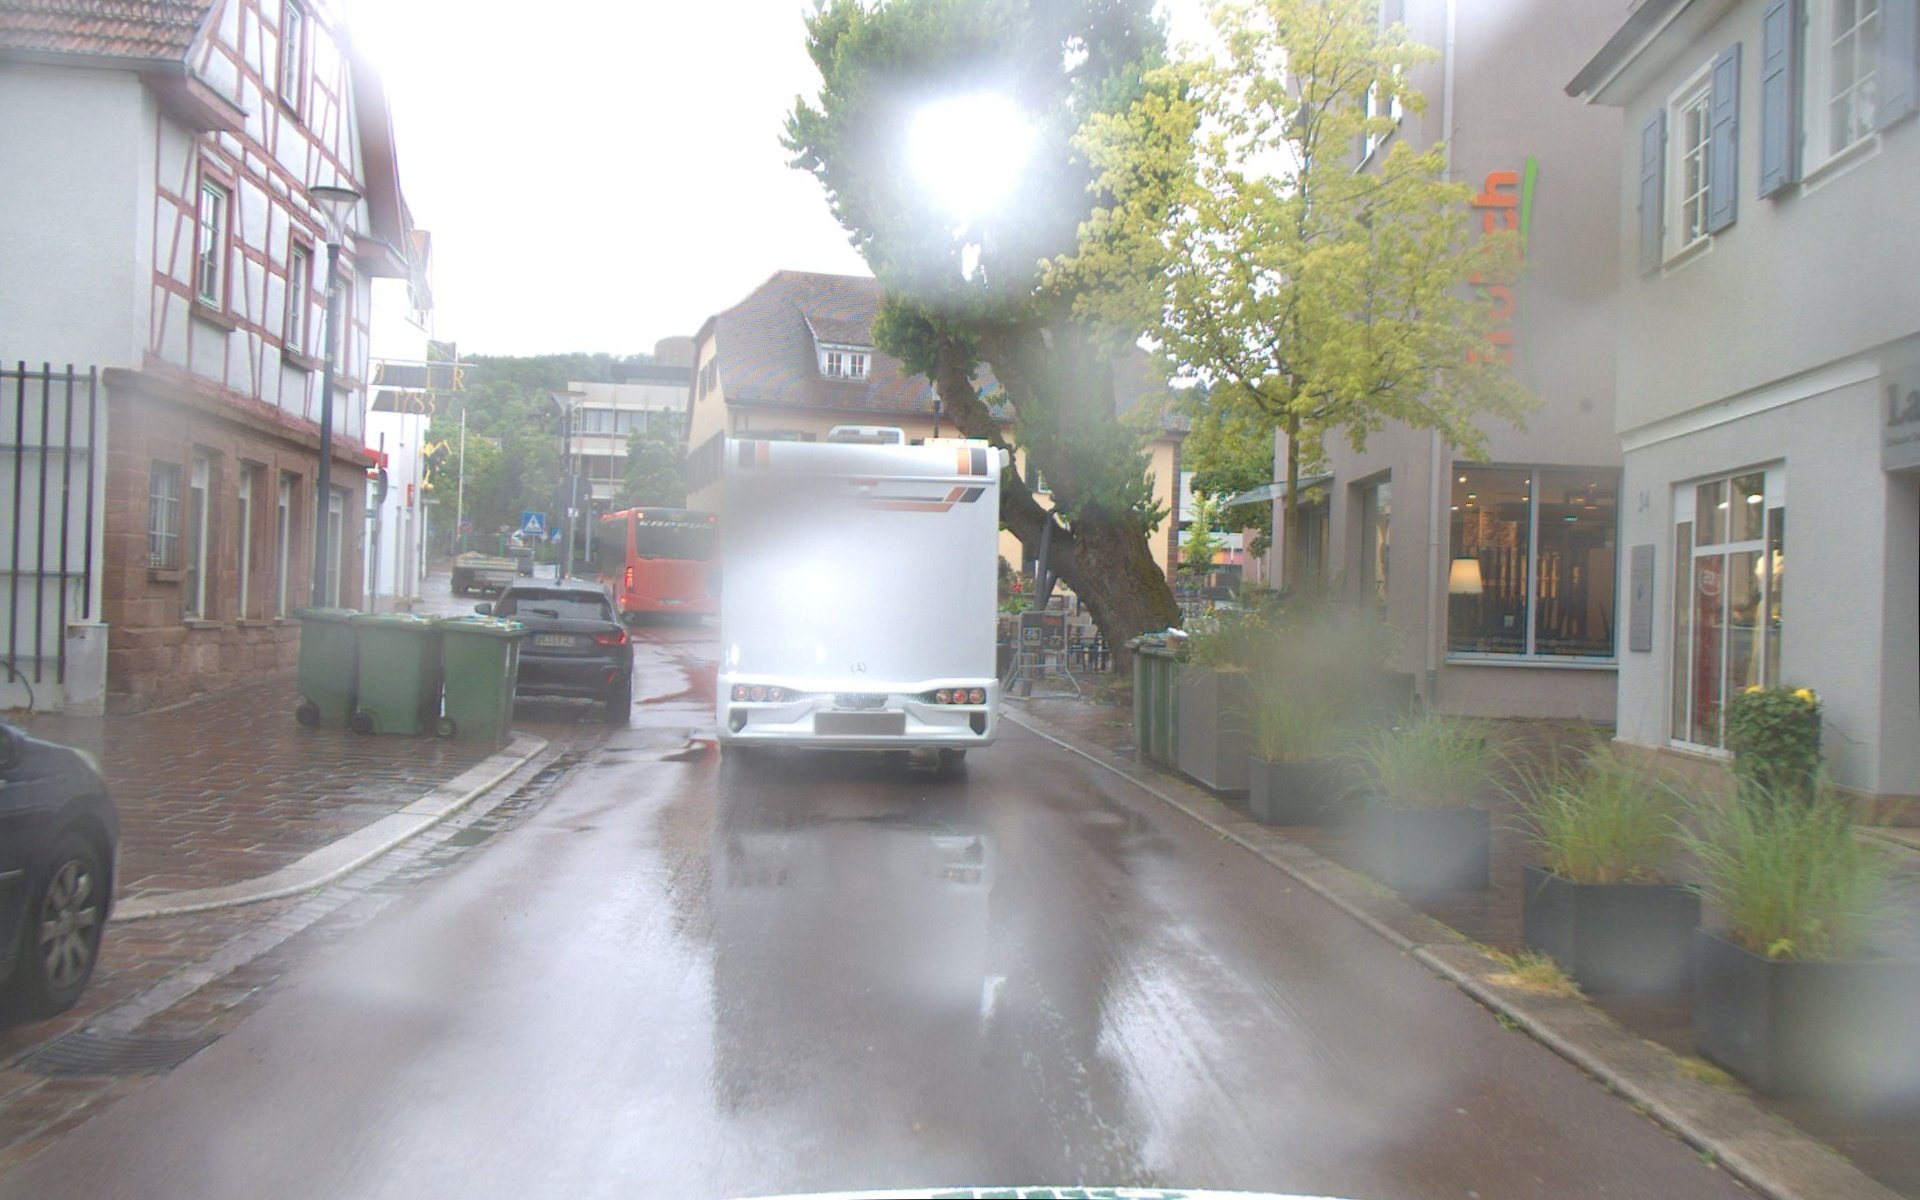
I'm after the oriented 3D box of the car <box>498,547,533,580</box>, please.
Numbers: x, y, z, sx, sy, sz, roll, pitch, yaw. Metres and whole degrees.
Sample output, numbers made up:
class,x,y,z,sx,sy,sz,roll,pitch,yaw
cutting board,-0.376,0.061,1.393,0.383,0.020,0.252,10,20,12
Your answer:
class,x,y,z,sx,sy,sz,roll,pitch,yaw
car,-29.384,-2.395,109.194,1.963,2.049,3.979,1,-1,-18

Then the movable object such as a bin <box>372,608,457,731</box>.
class,x,y,z,sx,sy,sz,roll,pitch,yaw
movable object such as a bin,-5.189,0.654,15.771,0.618,1.142,0.732,1,-1,-9

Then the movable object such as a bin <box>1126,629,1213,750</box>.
class,x,y,z,sx,sy,sz,roll,pitch,yaw
movable object such as a bin,1.971,0.835,15.613,0.714,1.099,0.576,1,-1,-4

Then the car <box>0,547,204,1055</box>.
class,x,y,z,sx,sy,sz,roll,pitch,yaw
car,-3.732,0.561,4.302,1.955,1.497,3.995,2,0,-6

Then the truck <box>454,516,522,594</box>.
class,x,y,z,sx,sy,sz,roll,pitch,yaw
truck,-18.739,-1.717,65.486,2.246,2.806,5.538,1,-1,-19

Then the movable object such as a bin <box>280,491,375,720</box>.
class,x,y,z,sx,sy,sz,roll,pitch,yaw
movable object such as a bin,-5.822,0.059,15.251,0.618,2.049,0.745,1,-1,-9

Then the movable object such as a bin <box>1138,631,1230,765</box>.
class,x,y,z,sx,sy,sz,roll,pitch,yaw
movable object such as a bin,1.941,0.840,14.379,0.679,1.121,0.561,1,-1,-4

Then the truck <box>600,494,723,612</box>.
class,x,y,z,sx,sy,sz,roll,pitch,yaw
truck,-8.398,-1.182,46.021,2.424,2.991,6.163,1,-1,-19

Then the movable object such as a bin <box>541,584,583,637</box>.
class,x,y,z,sx,sy,sz,roll,pitch,yaw
movable object such as a bin,-8.317,0.218,34.518,0.805,1.069,0.697,1,-1,-16

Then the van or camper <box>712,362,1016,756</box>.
class,x,y,z,sx,sy,sz,roll,pitch,yaw
van or camper,-1.103,-0.259,15.862,2.282,2.970,6.383,1,-1,-7

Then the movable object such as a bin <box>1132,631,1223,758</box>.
class,x,y,z,sx,sy,sz,roll,pitch,yaw
movable object such as a bin,1.975,0.851,15.048,0.714,1.121,0.561,1,-1,-4

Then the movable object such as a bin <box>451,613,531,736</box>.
class,x,y,z,sx,sy,sz,roll,pitch,yaw
movable object such as a bin,-4.466,0.702,15.791,0.618,1.142,0.732,1,-1,-9

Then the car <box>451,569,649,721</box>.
class,x,y,z,sx,sy,sz,roll,pitch,yaw
car,-4.769,0.453,19.332,1.960,1.520,3.986,3,0,-14

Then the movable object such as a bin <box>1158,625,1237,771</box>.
class,x,y,z,sx,sy,sz,roll,pitch,yaw
movable object such as a bin,1.972,0.804,13.793,0.533,1.176,0.576,1,-1,-4

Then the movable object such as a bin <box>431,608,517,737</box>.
class,x,y,z,sx,sy,sz,roll,pitch,yaw
movable object such as a bin,-4.404,0.648,15.021,0.618,1.133,0.732,1,-1,-9

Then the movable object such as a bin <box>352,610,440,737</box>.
class,x,y,z,sx,sy,sz,roll,pitch,yaw
movable object such as a bin,-5.094,0.651,14.977,0.618,1.070,0.732,1,3,-9
